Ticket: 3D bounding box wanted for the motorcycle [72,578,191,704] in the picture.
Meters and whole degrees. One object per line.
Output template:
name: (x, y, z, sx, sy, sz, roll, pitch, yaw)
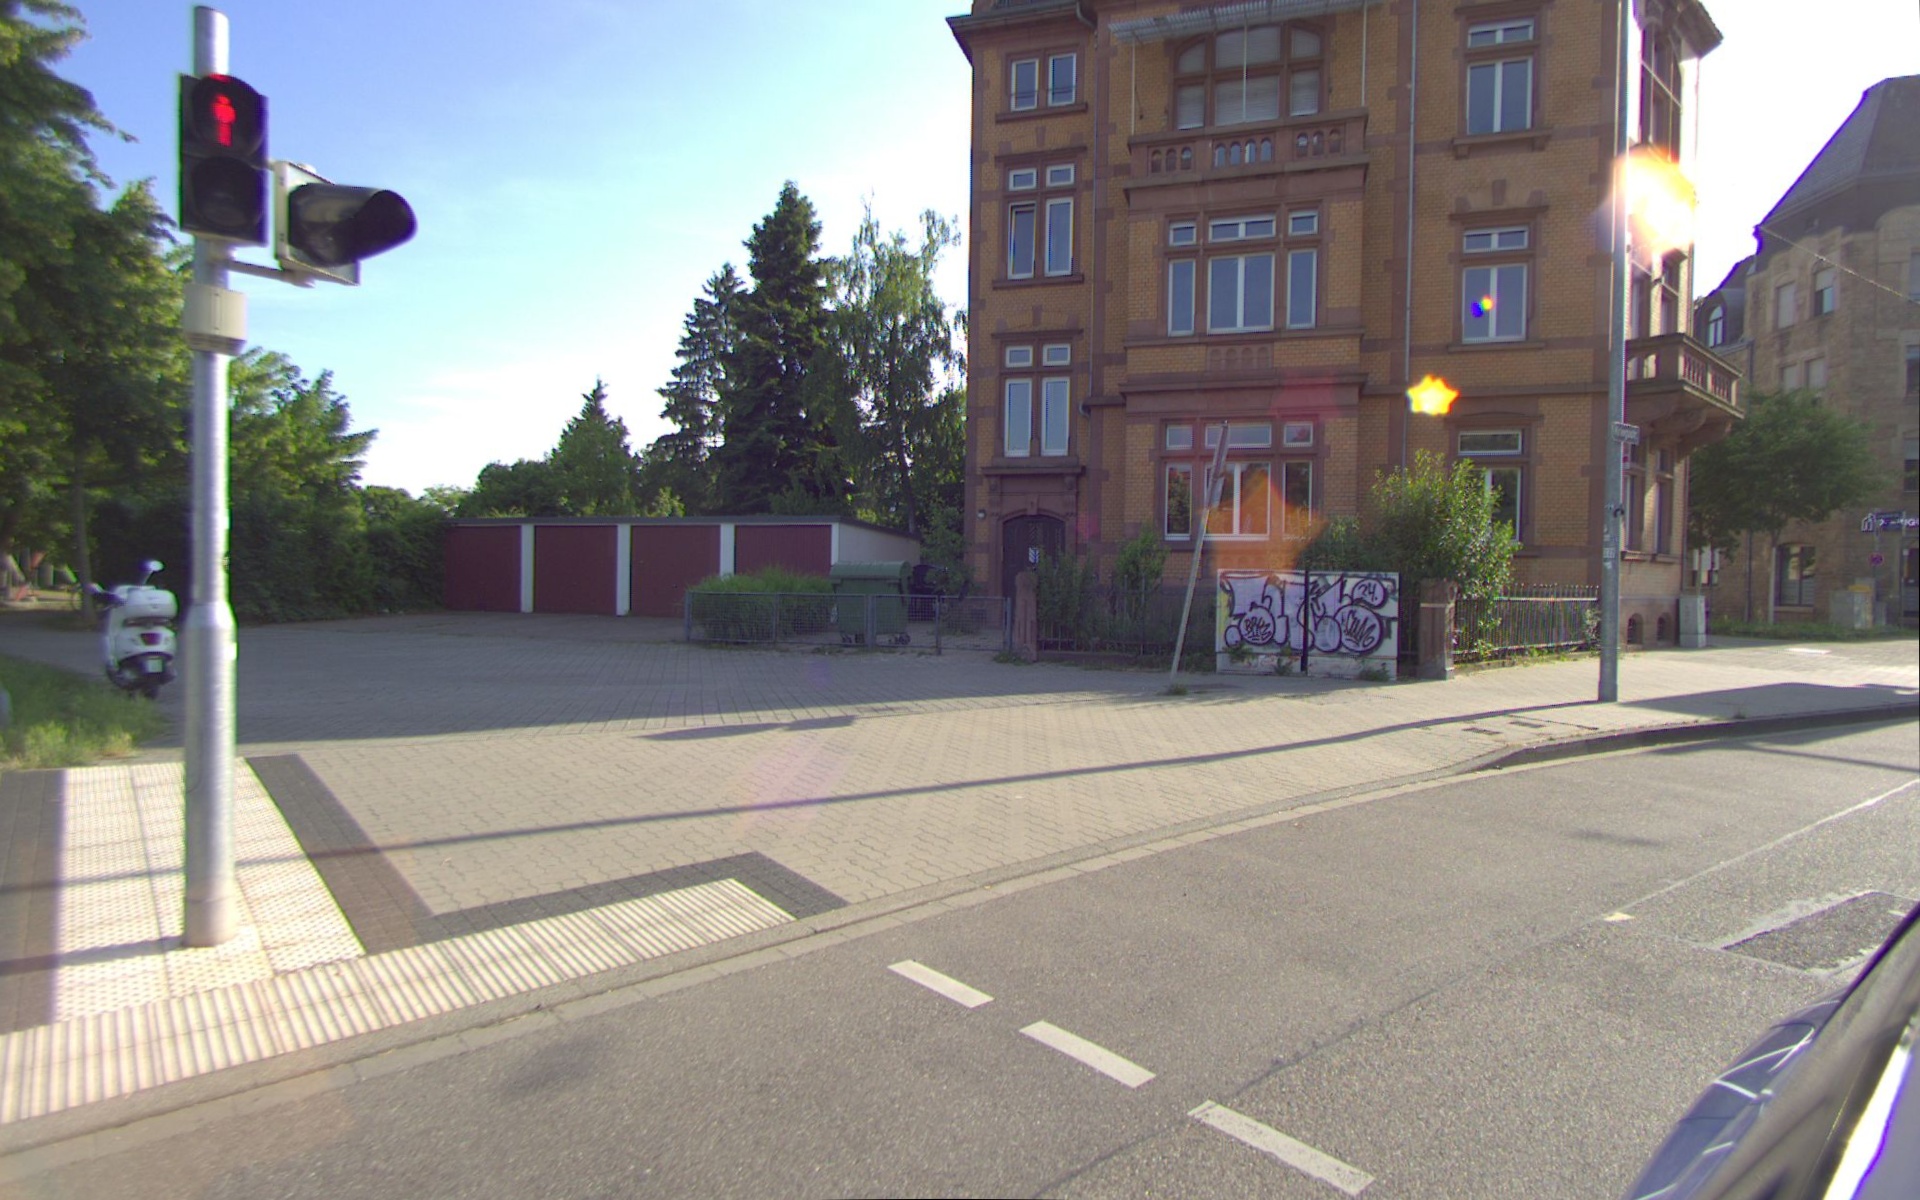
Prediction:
motorcycle: (-8.522, 0.368, 10.380, 1.996, 1.174, 0.697, 1, 0, 44)
